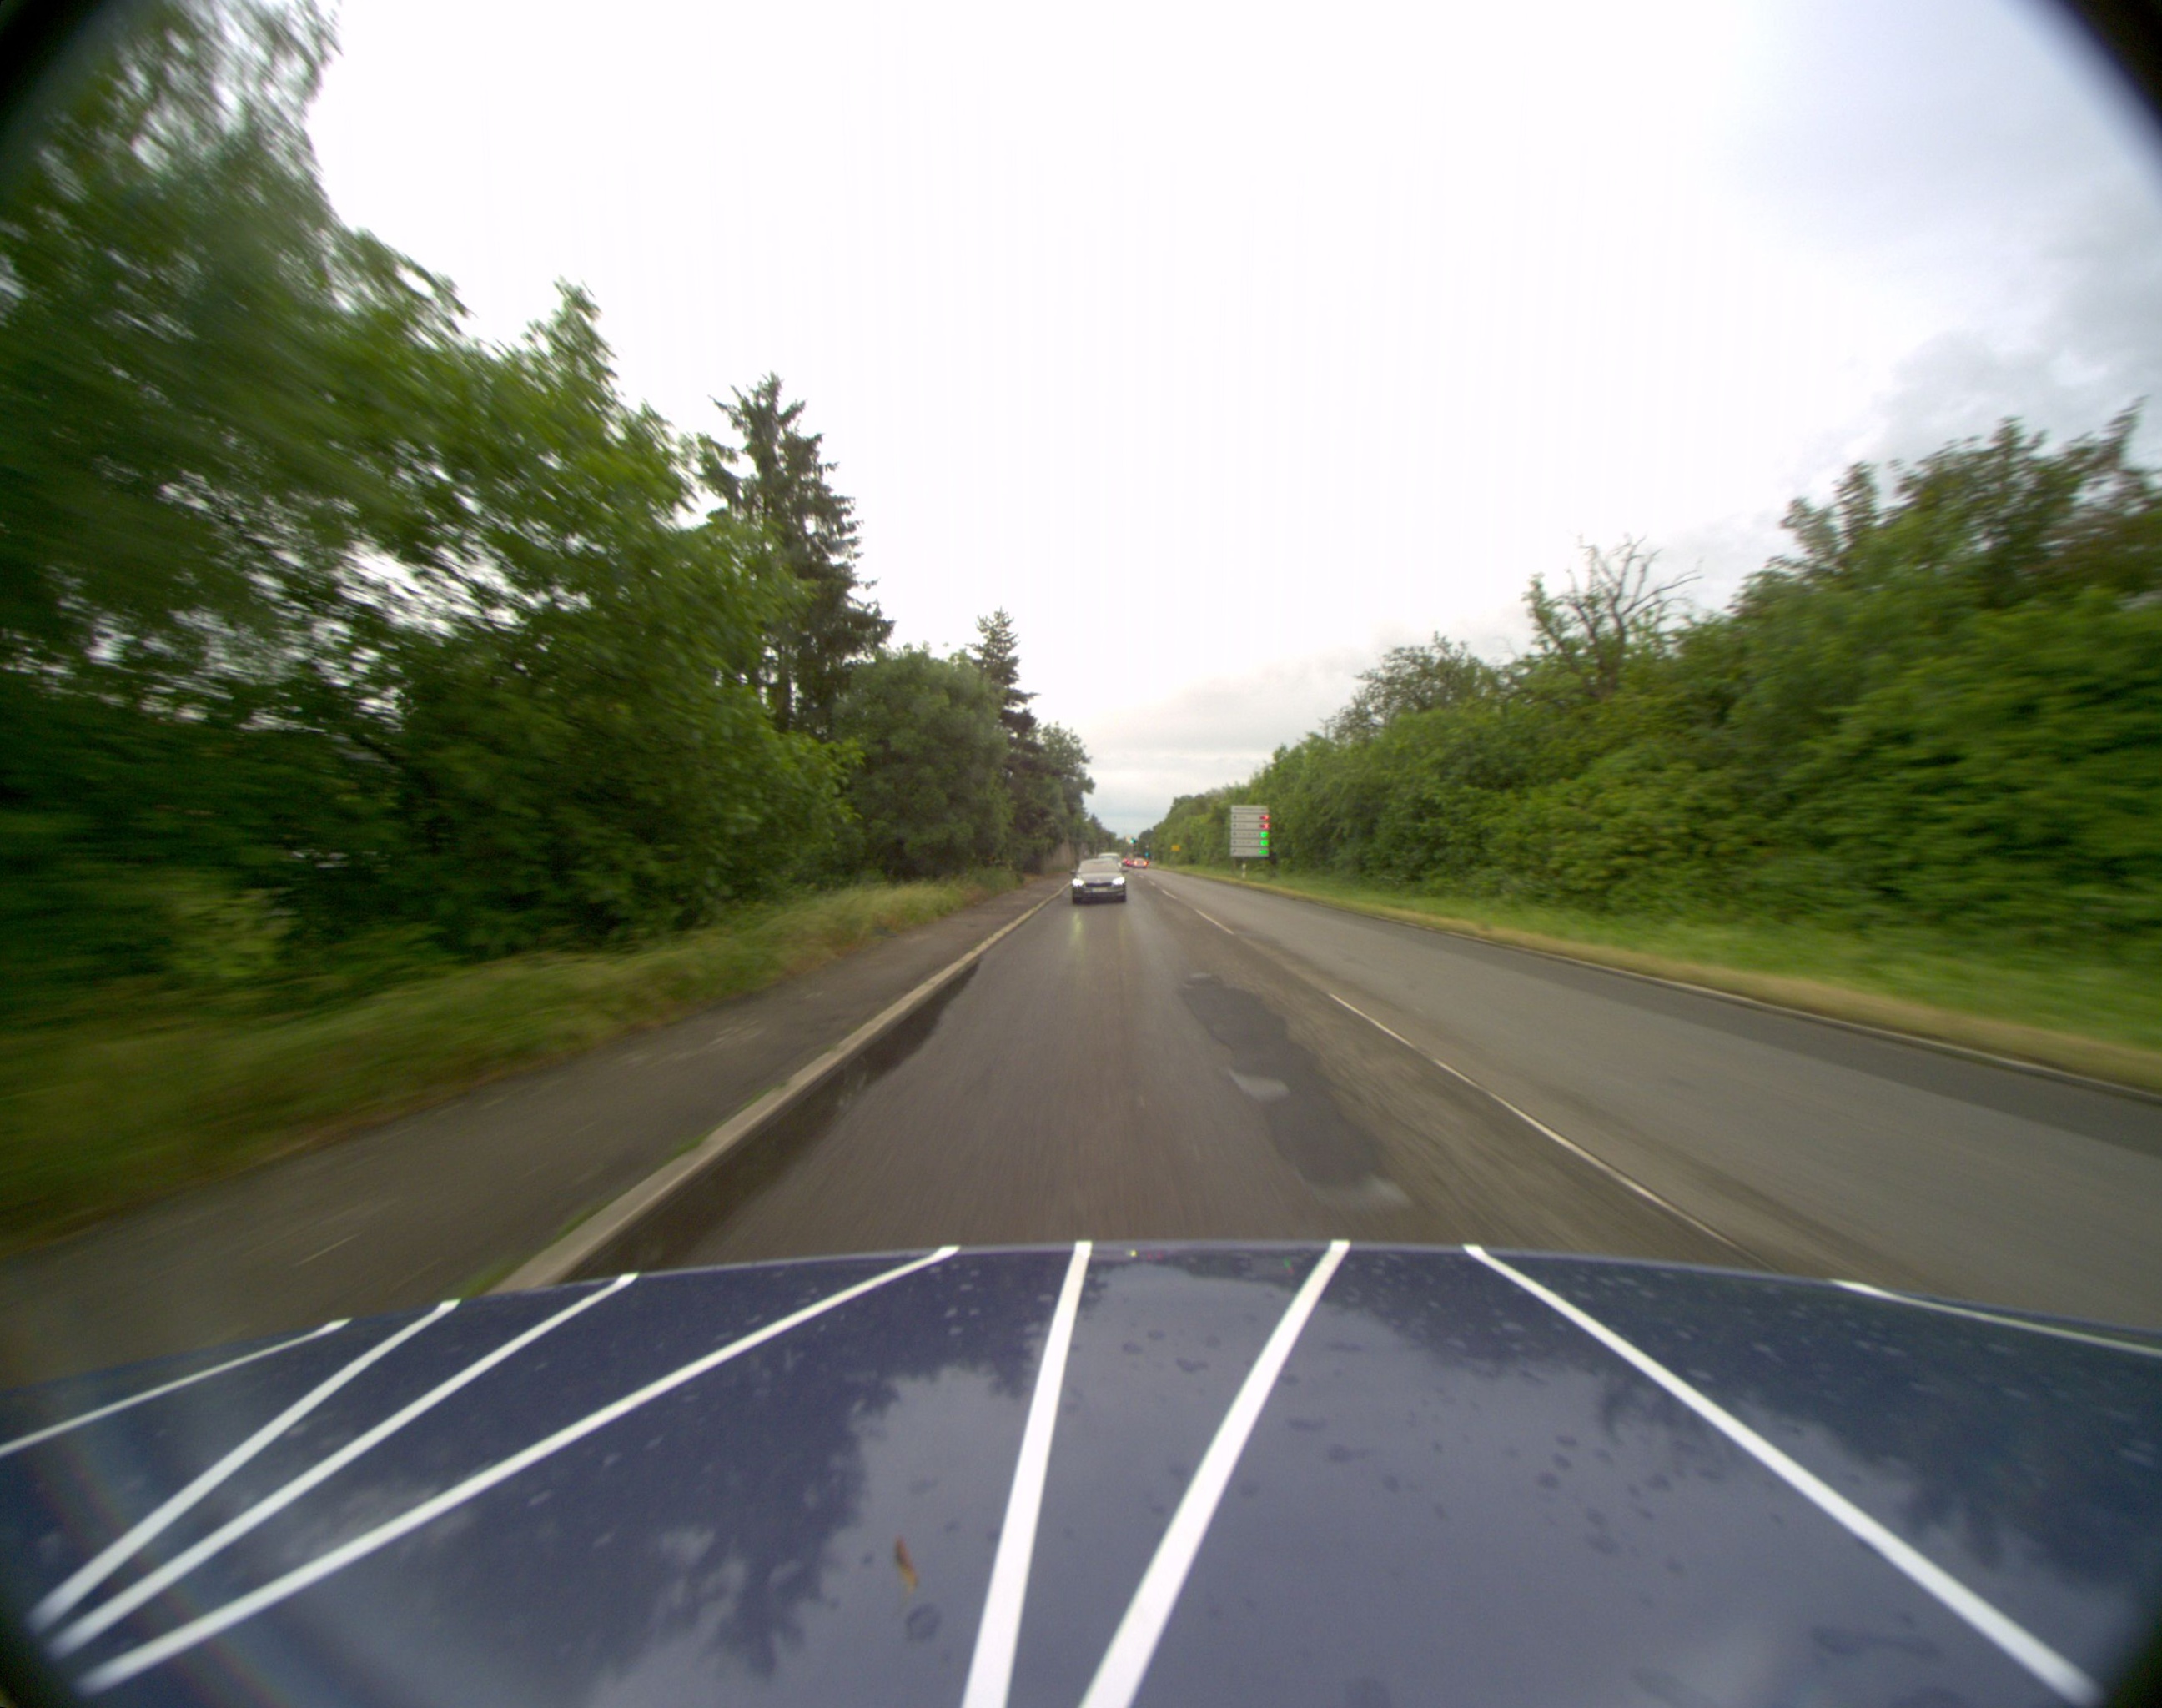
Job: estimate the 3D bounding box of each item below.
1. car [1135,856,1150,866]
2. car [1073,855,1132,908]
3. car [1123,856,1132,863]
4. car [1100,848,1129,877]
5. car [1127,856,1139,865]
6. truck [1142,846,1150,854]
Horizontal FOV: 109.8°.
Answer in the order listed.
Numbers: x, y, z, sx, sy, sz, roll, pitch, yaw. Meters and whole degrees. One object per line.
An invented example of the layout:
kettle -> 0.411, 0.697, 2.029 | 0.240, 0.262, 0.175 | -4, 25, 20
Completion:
car -> 8.533, 0.925, 105.471 | 1.895, 1.347, 4.382 | 0, 0, 1
car -> 0.709, 0.815, 24.434 | 1.674, 1.477, 4.216 | -3, 0, 2
car -> 10.273, 1.193, 168.379 | 1.737, 1.584, 4.282 | 2, 0, 1
car -> 2.074, 0.518, 47.918 | 1.704, 1.724, 4.000 | 0, 1, 1
car -> 8.632, 1.081, 126.732 | 1.829, 1.411, 4.320 | 1, 0, 2
truck -> 20.795, -1.362, 243.318 | 2.479, 2.494, 5.640 | 2, 0, 7
